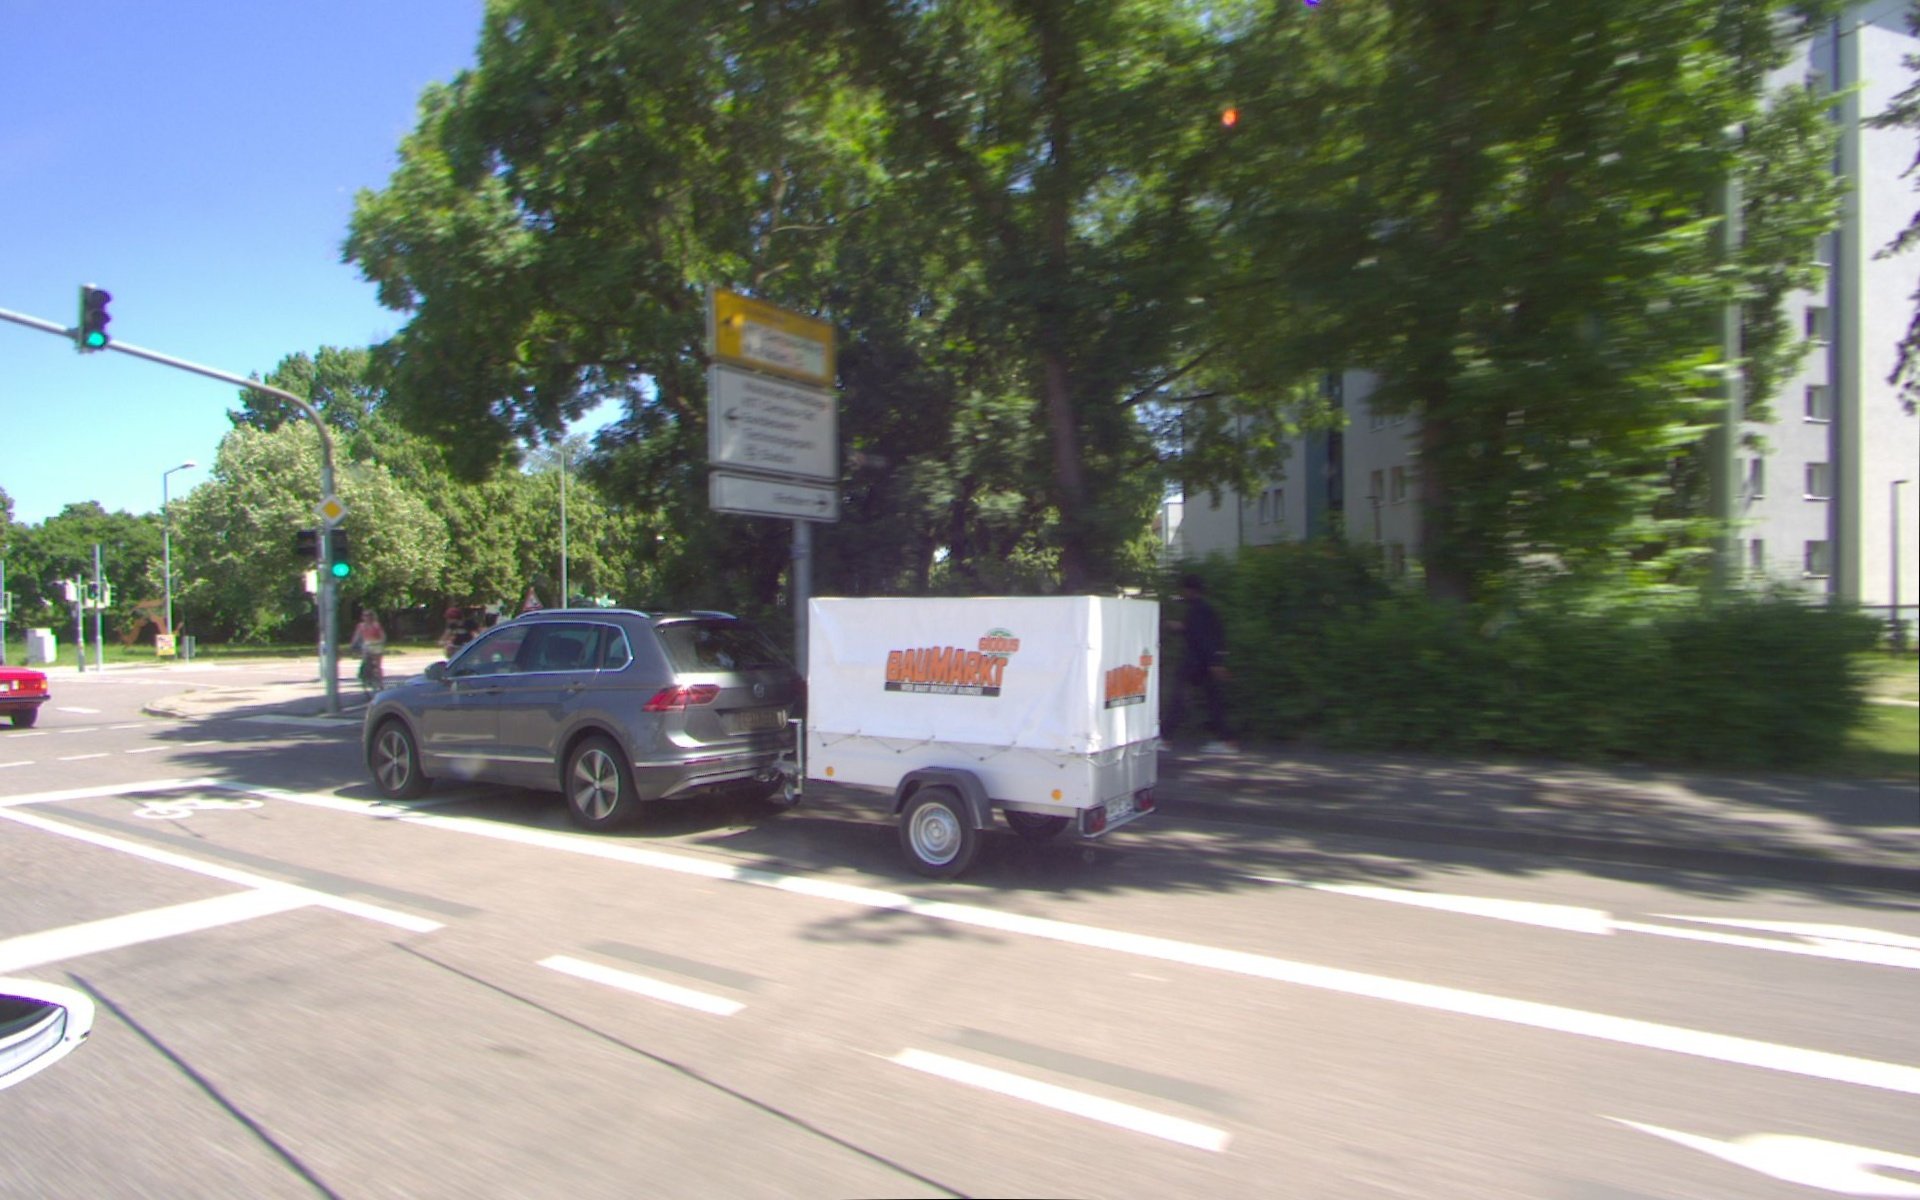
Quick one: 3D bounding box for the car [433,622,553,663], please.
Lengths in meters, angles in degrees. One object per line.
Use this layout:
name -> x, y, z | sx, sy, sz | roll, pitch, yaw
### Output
car -> -19.168, 1.713, 41.319 | 1.964, 1.523, 4.495 | 0, 0, 18

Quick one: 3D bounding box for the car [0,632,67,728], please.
car -> -16.036, 1.210, 15.833 | 4.203, 1.414, 1.653 | -1, -2, 30

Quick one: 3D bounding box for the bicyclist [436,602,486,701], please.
bicyclist -> -9.024, 0.916, 18.120 | 0.715, 1.726, 0.676 | -3, 2, -25

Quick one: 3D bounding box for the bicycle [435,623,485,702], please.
bicycle -> -9.021, 1.093, 18.094 | 0.715, 1.313, 1.299 | -3, 2, -25

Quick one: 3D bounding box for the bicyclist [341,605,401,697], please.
bicyclist -> -11.640, 0.994, 19.791 | 0.671, 1.750, 0.797 | -1, 2, 42

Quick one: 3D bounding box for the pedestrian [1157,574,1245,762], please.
pedestrian -> 2.478, 0.667, 10.271 | 0.683, 1.840, 0.751 | 0, 1, 30

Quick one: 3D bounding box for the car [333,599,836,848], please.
car -> -3.307, 0.881, 8.584 | 4.333, 1.675, 1.698 | -1, -2, 30

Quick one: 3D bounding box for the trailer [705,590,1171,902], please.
trailer -> -0.162, 0.830, 6.784 | 2.813, 1.690, 1.467 | -1, -2, 30

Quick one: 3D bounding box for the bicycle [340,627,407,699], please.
bicycle -> -11.566, 1.206, 19.738 | 1.608, 1.322, 0.640 | -1, 2, 43
